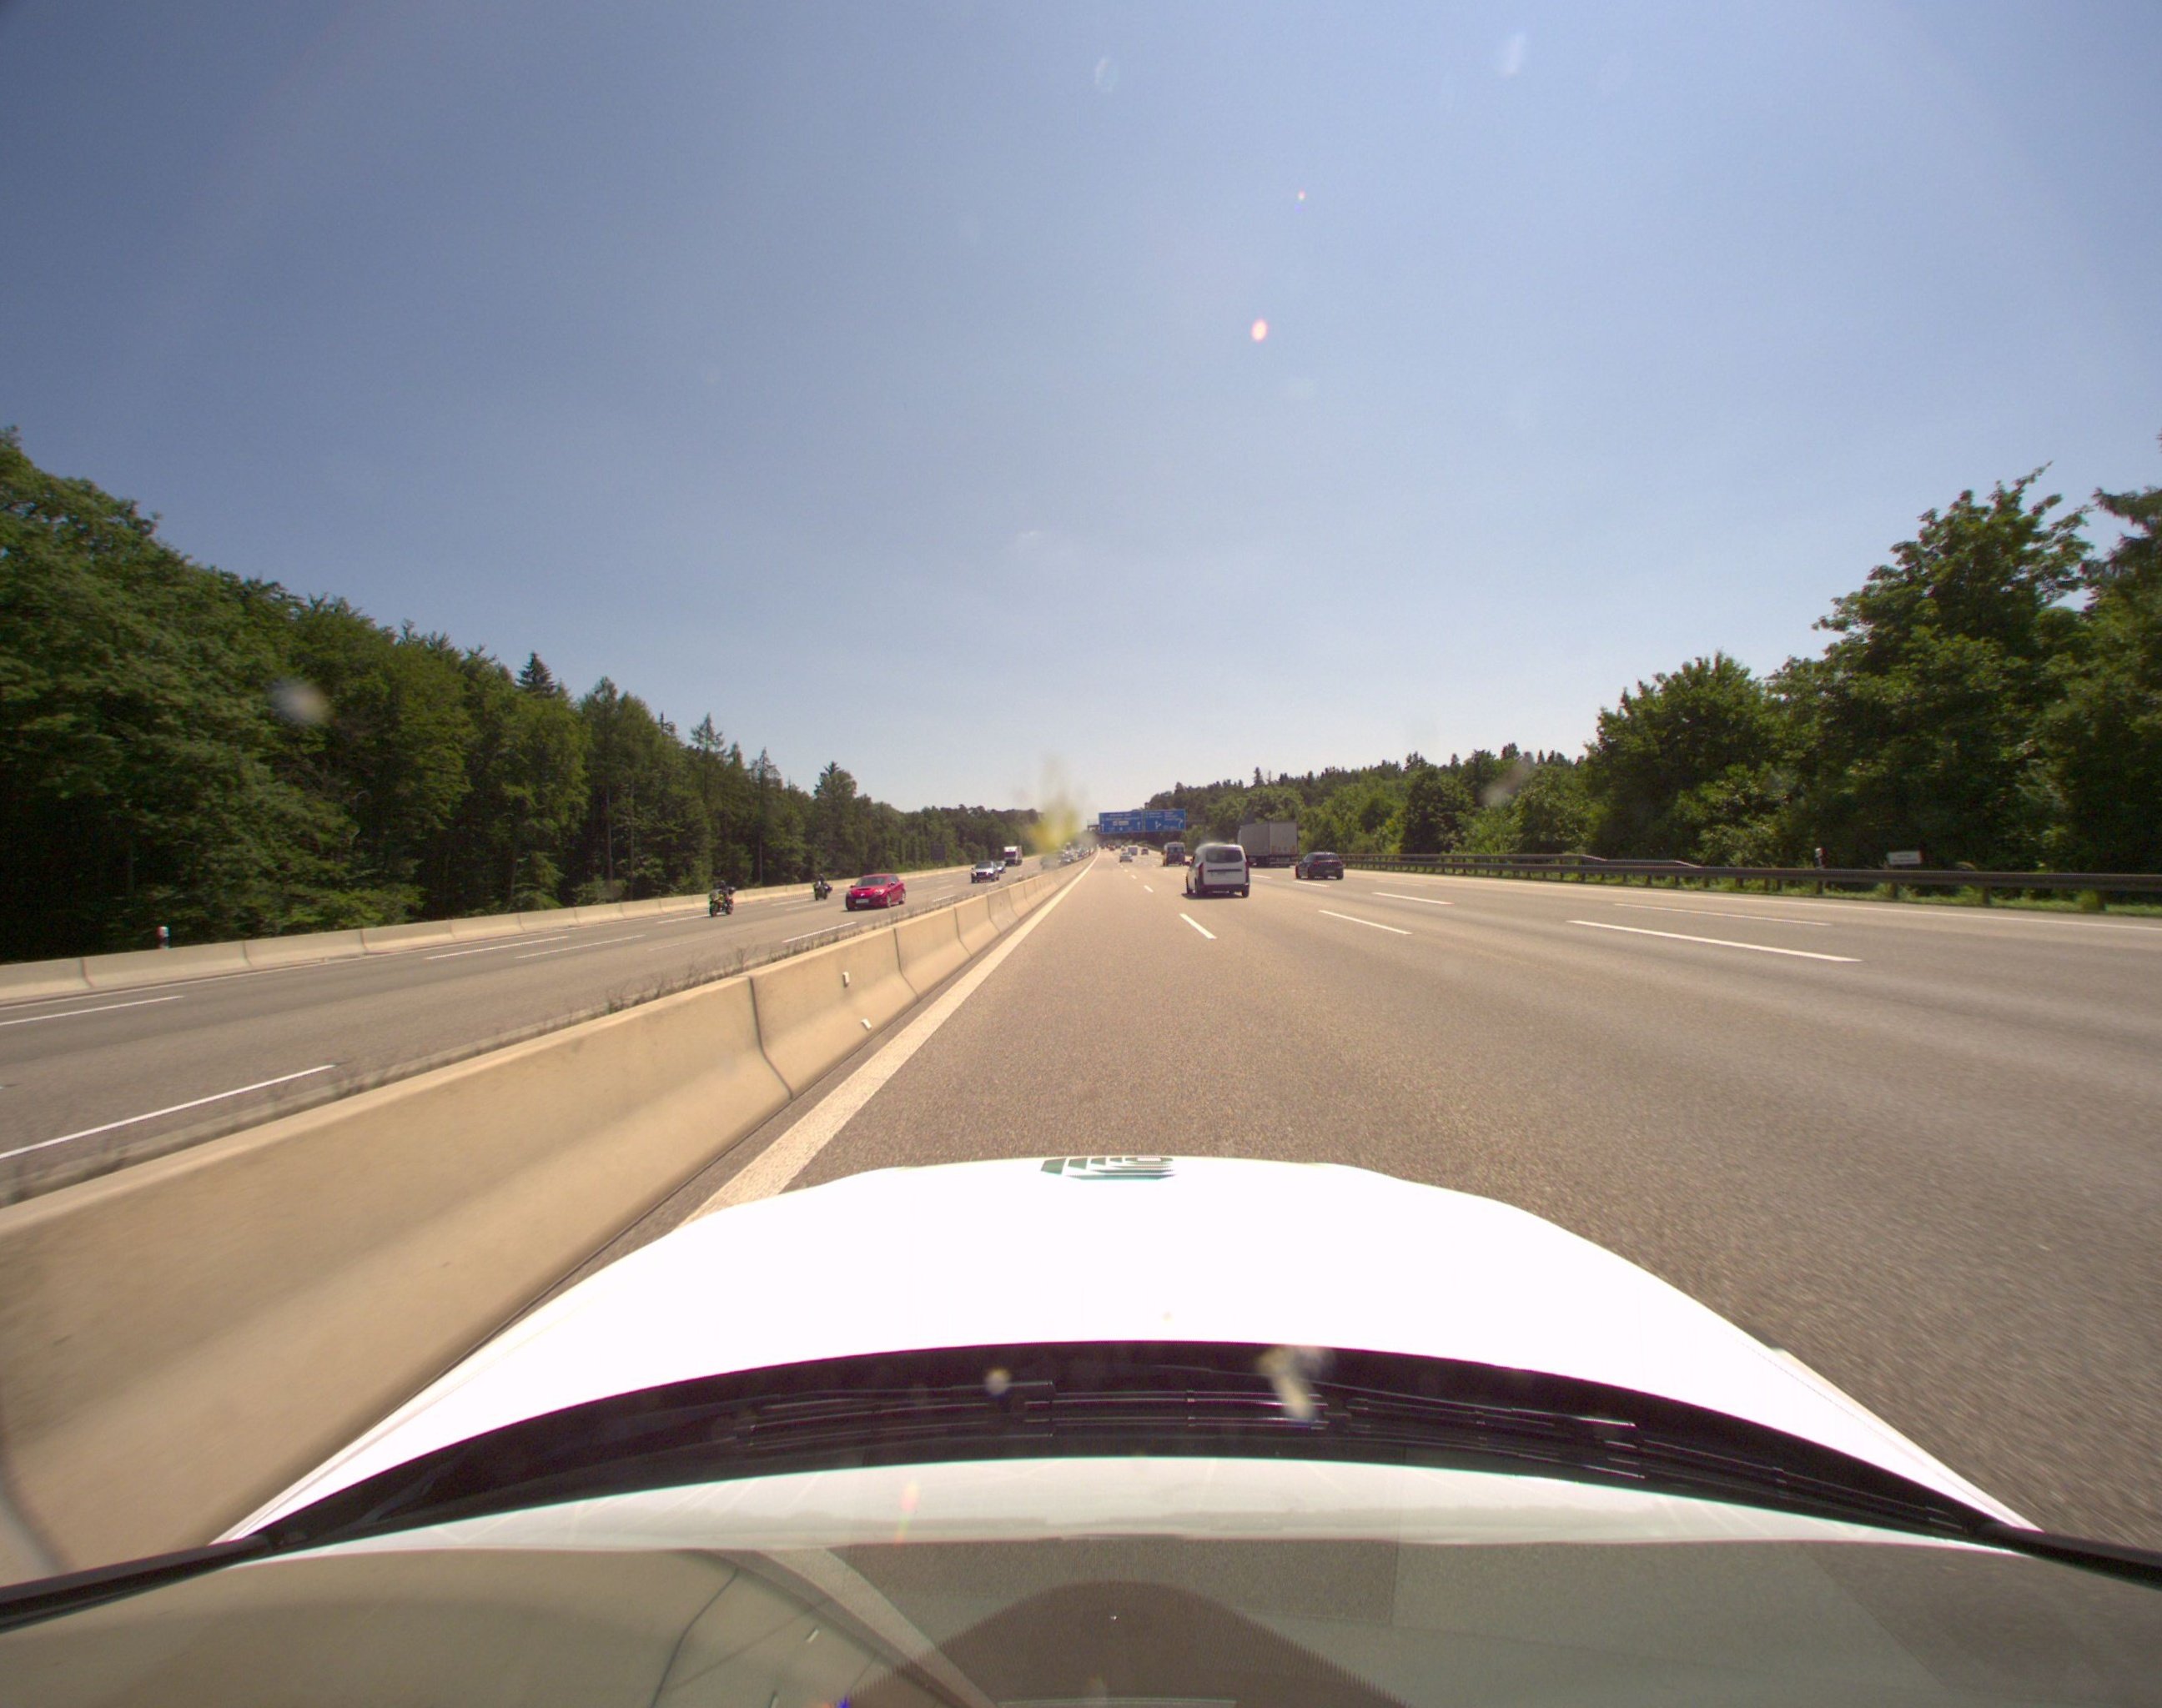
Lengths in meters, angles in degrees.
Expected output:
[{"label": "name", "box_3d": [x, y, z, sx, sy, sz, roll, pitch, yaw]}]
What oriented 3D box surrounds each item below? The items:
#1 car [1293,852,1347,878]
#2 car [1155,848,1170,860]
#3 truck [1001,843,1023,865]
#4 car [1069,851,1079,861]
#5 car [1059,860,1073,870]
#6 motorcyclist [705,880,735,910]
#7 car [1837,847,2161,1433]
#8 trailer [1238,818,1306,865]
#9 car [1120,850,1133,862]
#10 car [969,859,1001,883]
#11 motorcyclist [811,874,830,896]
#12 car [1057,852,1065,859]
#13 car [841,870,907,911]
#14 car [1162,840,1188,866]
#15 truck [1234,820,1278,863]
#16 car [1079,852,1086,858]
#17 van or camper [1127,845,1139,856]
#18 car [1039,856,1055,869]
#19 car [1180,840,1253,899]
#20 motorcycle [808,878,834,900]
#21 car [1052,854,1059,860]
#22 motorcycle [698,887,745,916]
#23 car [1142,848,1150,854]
[{"label": "car", "box_3d": [12.472, 0.537, 42.676, 1.664, 1.273, 4.291, -2, 0, 2]}, {"label": "car", "box_3d": [12.134, -0.043, 121.373, 1.811, 1.640, 4.002, -3, 0, 2]}, {"label": "truck", "box_3d": [-13.319, 0.028, 157.899, 2.709, 3.939, 10.239, -3, -1, 2]}, {"label": "car", "box_3d": [-1.332, 0.369, 153.637, 1.608, 1.662, 3.851, -3, 0, 2]}, {"label": "car", "box_3d": [-2.247, 1.604, 119.873, 1.746, 1.377, 4.493, -3, 0, 2]}, {"label": "motorcyclist", "box_3d": [-16.585, 1.883, 37.437, 0.766, 1.301, 1.078, -3, -1, 1]}, {"label": "car", "box_3d": [3.499, 0.711, 0.423, 1.723, 1.447, 4.964, -2, 0, 2]}, {"label": "trailer", "box_3d": [17.535, -1.103, 76.032, 3.276, 3.930, 13.893, -1, 1, 1]}, {"label": "car", "box_3d": [6.881, 0.314, 123.008, 1.836, 1.629, 4.554, -3, -1, 1]}, {"label": "car", "box_3d": [-7.793, 1.344, 66.423, 1.964, 1.724, 4.509, -3, 0, 1]}, {"label": "motorcyclist", "box_3d": [-15.944, 1.880, 49.841, 0.758, 1.301, 1.078, -3, 0, 1]}, {"label": "car", "box_3d": [-4.903, 0.378, 199.294, 1.698, 1.565, 3.761, -3, 0, 2]}, {"label": "car", "box_3d": [-8.948, 1.547, 35.497, 1.566, 1.511, 4.033, -4, 0, 3]}, {"label": "car", "box_3d": [10.222, -0.067, 89.010, 2.136, 2.652, 5.712, -3, 0, 2]}, {"label": "truck", "box_3d": [17.649, -1.243, 82.508, 3.242, 4.106, 5.990, -1, 0, 1]}, {"label": "car", "box_3d": [0.320, 0.196, 220.574, 1.698, 1.662, 3.761, -3, 0, 2]}, {"label": "van or camper", "box_3d": [13.389, -0.873, 210.027, 2.635, 2.538, 6.504, -3, 0, 2]}, {"label": "car", "box_3d": [-4.375, 1.082, 106.334, 1.711, 1.512, 4.353, -3, 0, 2]}, {"label": "car", "box_3d": [4.763, 0.519, 29.193, 1.853, 1.826, 4.613, -3, 0, 1]}, {"label": "motorcycle", "box_3d": [-15.923, 2.137, 49.935, 0.735, 1.214, 2.350, -3, -1, 2]}, {"label": "car", "box_3d": [-7.223, 0.830, 234.971, 1.698, 1.565, 3.761, -3, 0, 2]}, {"label": "motorcycle", "box_3d": [-16.566, 2.167, 37.618, 0.775, 1.141, 2.757, -3, 0, 2]}, {"label": "car", "box_3d": [17.383, -0.771, 219.032, 1.829, 1.338, 3.644, -3, -1, 1]}]
